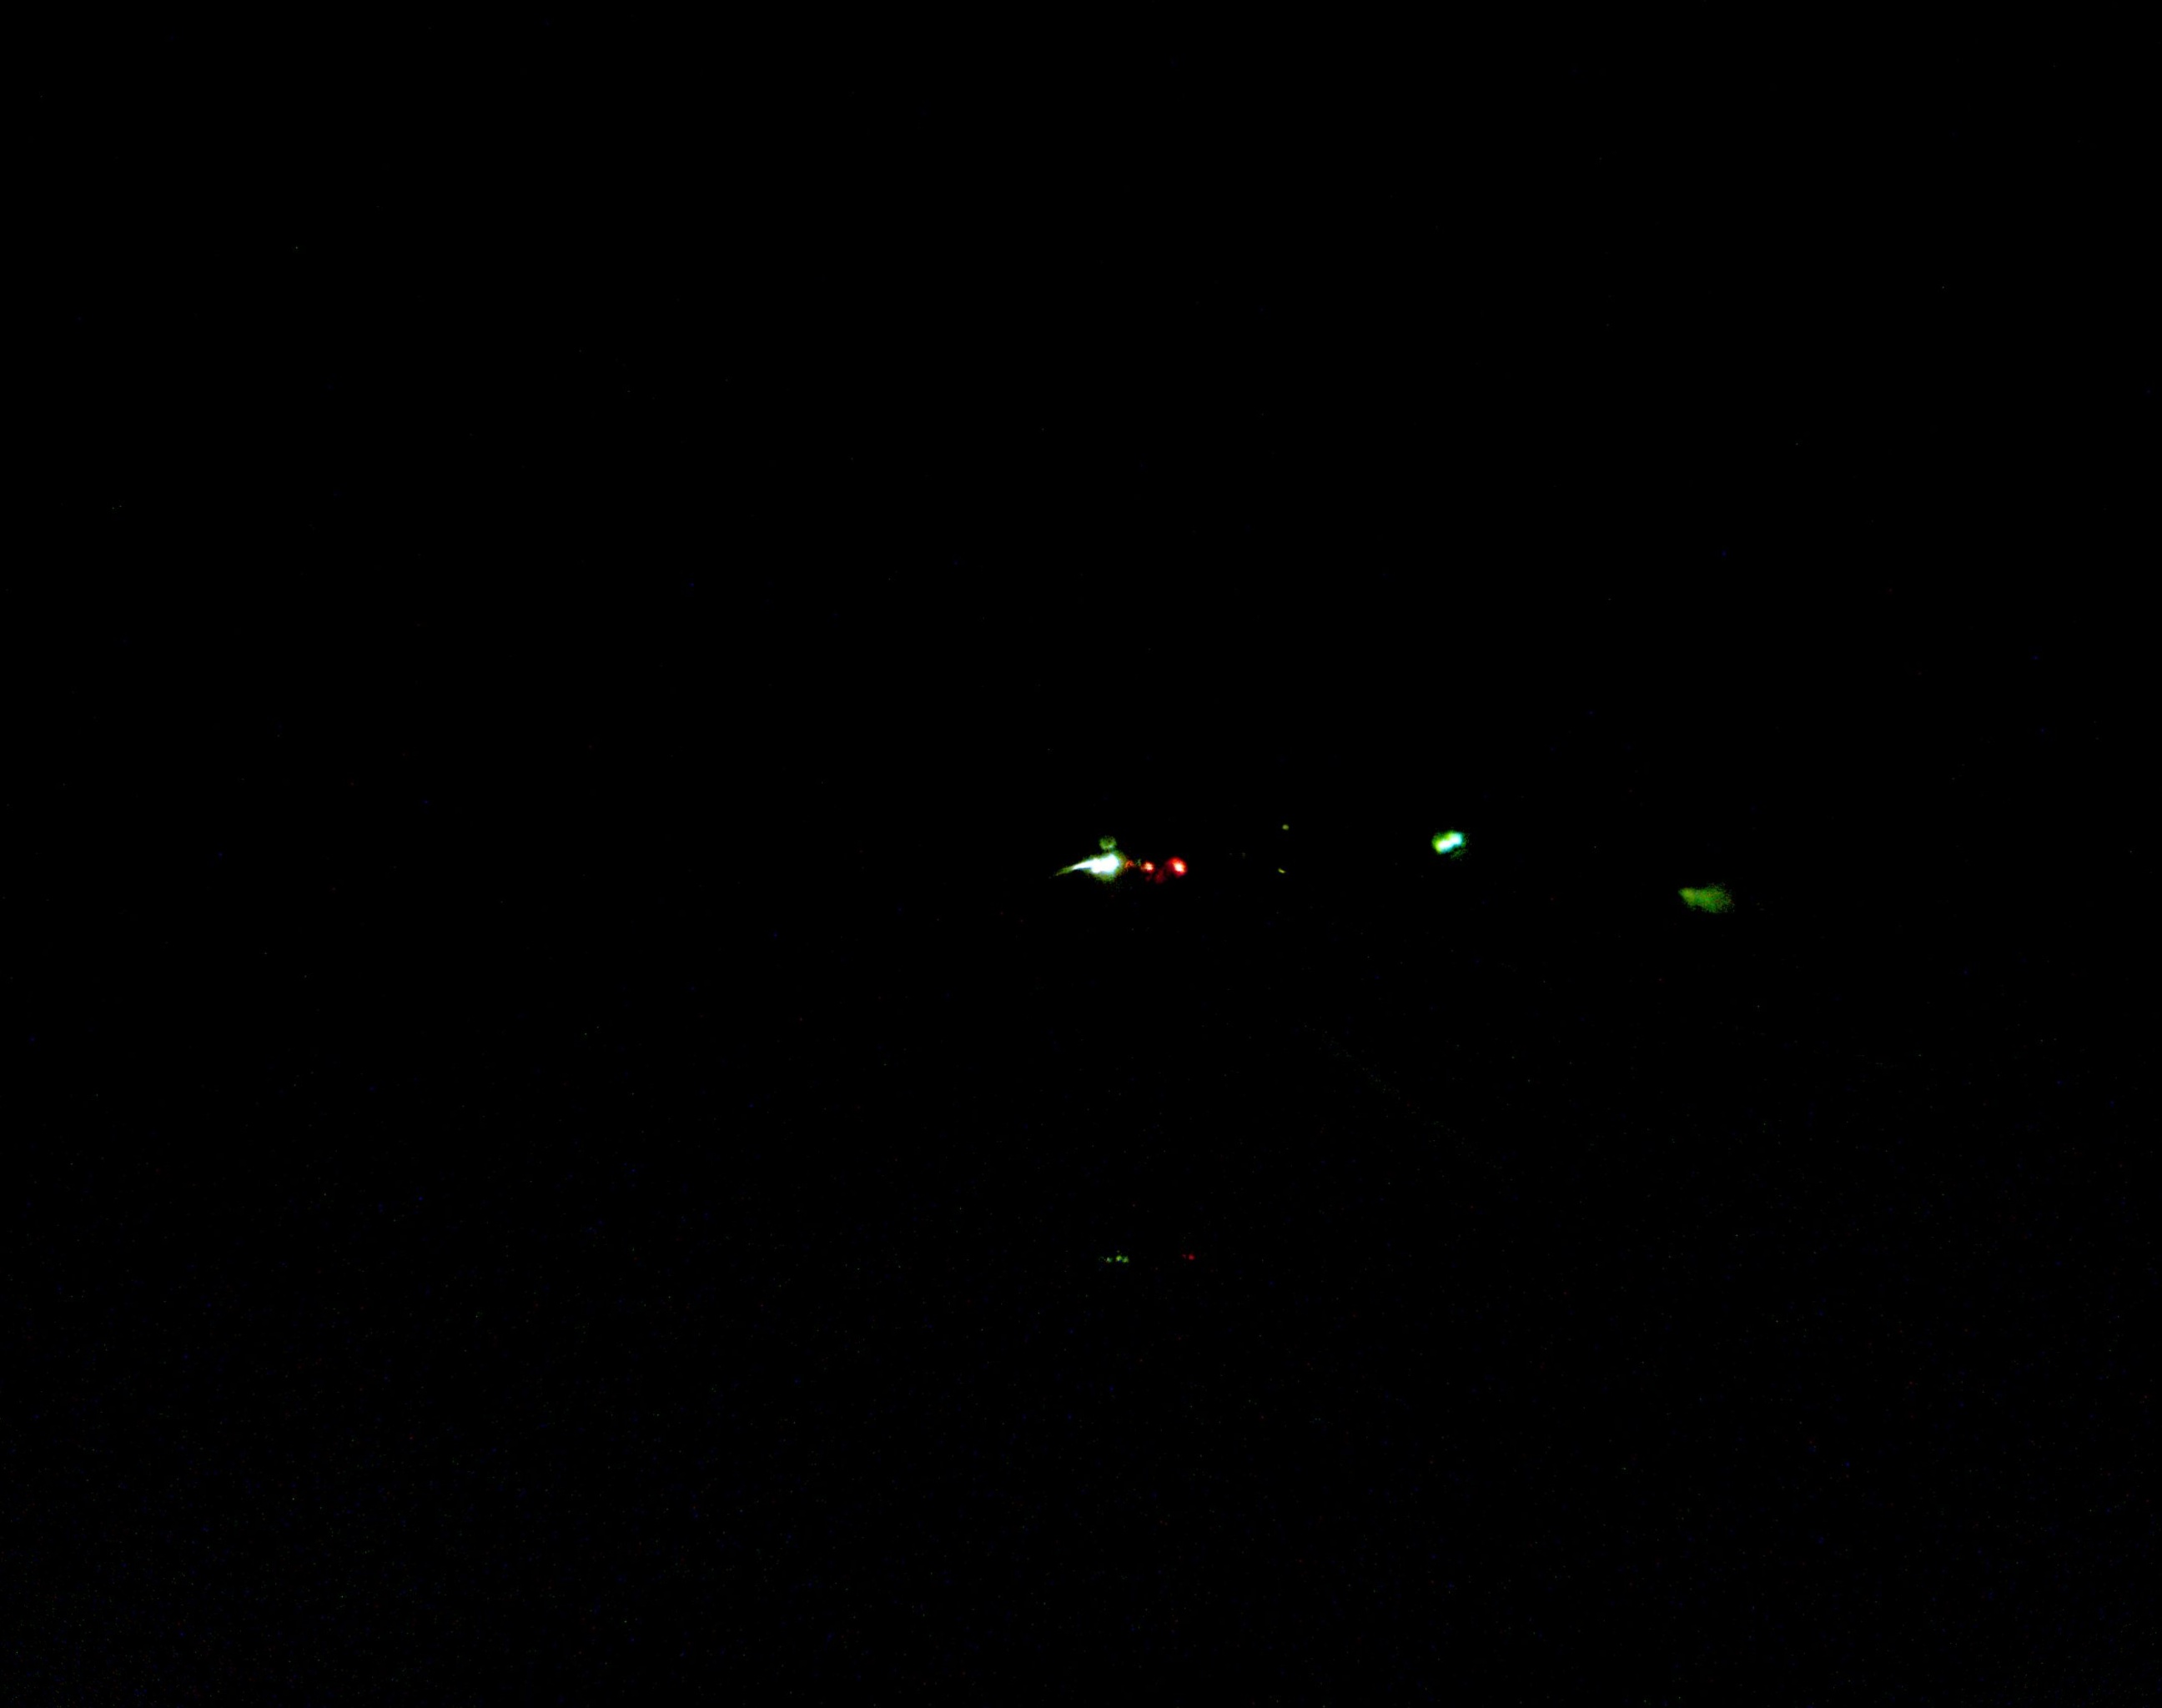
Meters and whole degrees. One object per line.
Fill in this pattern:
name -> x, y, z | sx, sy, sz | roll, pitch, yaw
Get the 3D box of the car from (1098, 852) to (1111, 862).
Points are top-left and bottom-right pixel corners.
car -> 3.793, 0.481, 122.517 | 1.746, 1.623, 3.738 | -2, 0, 8

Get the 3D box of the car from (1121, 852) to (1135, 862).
car -> 6.584, 0.403, 106.583 | 1.645, 1.351, 3.681 | -2, 0, 1

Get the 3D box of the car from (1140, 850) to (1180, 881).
car -> 4.394, 0.618, 42.809 | 1.873, 1.603, 3.846 | -2, 0, 1
